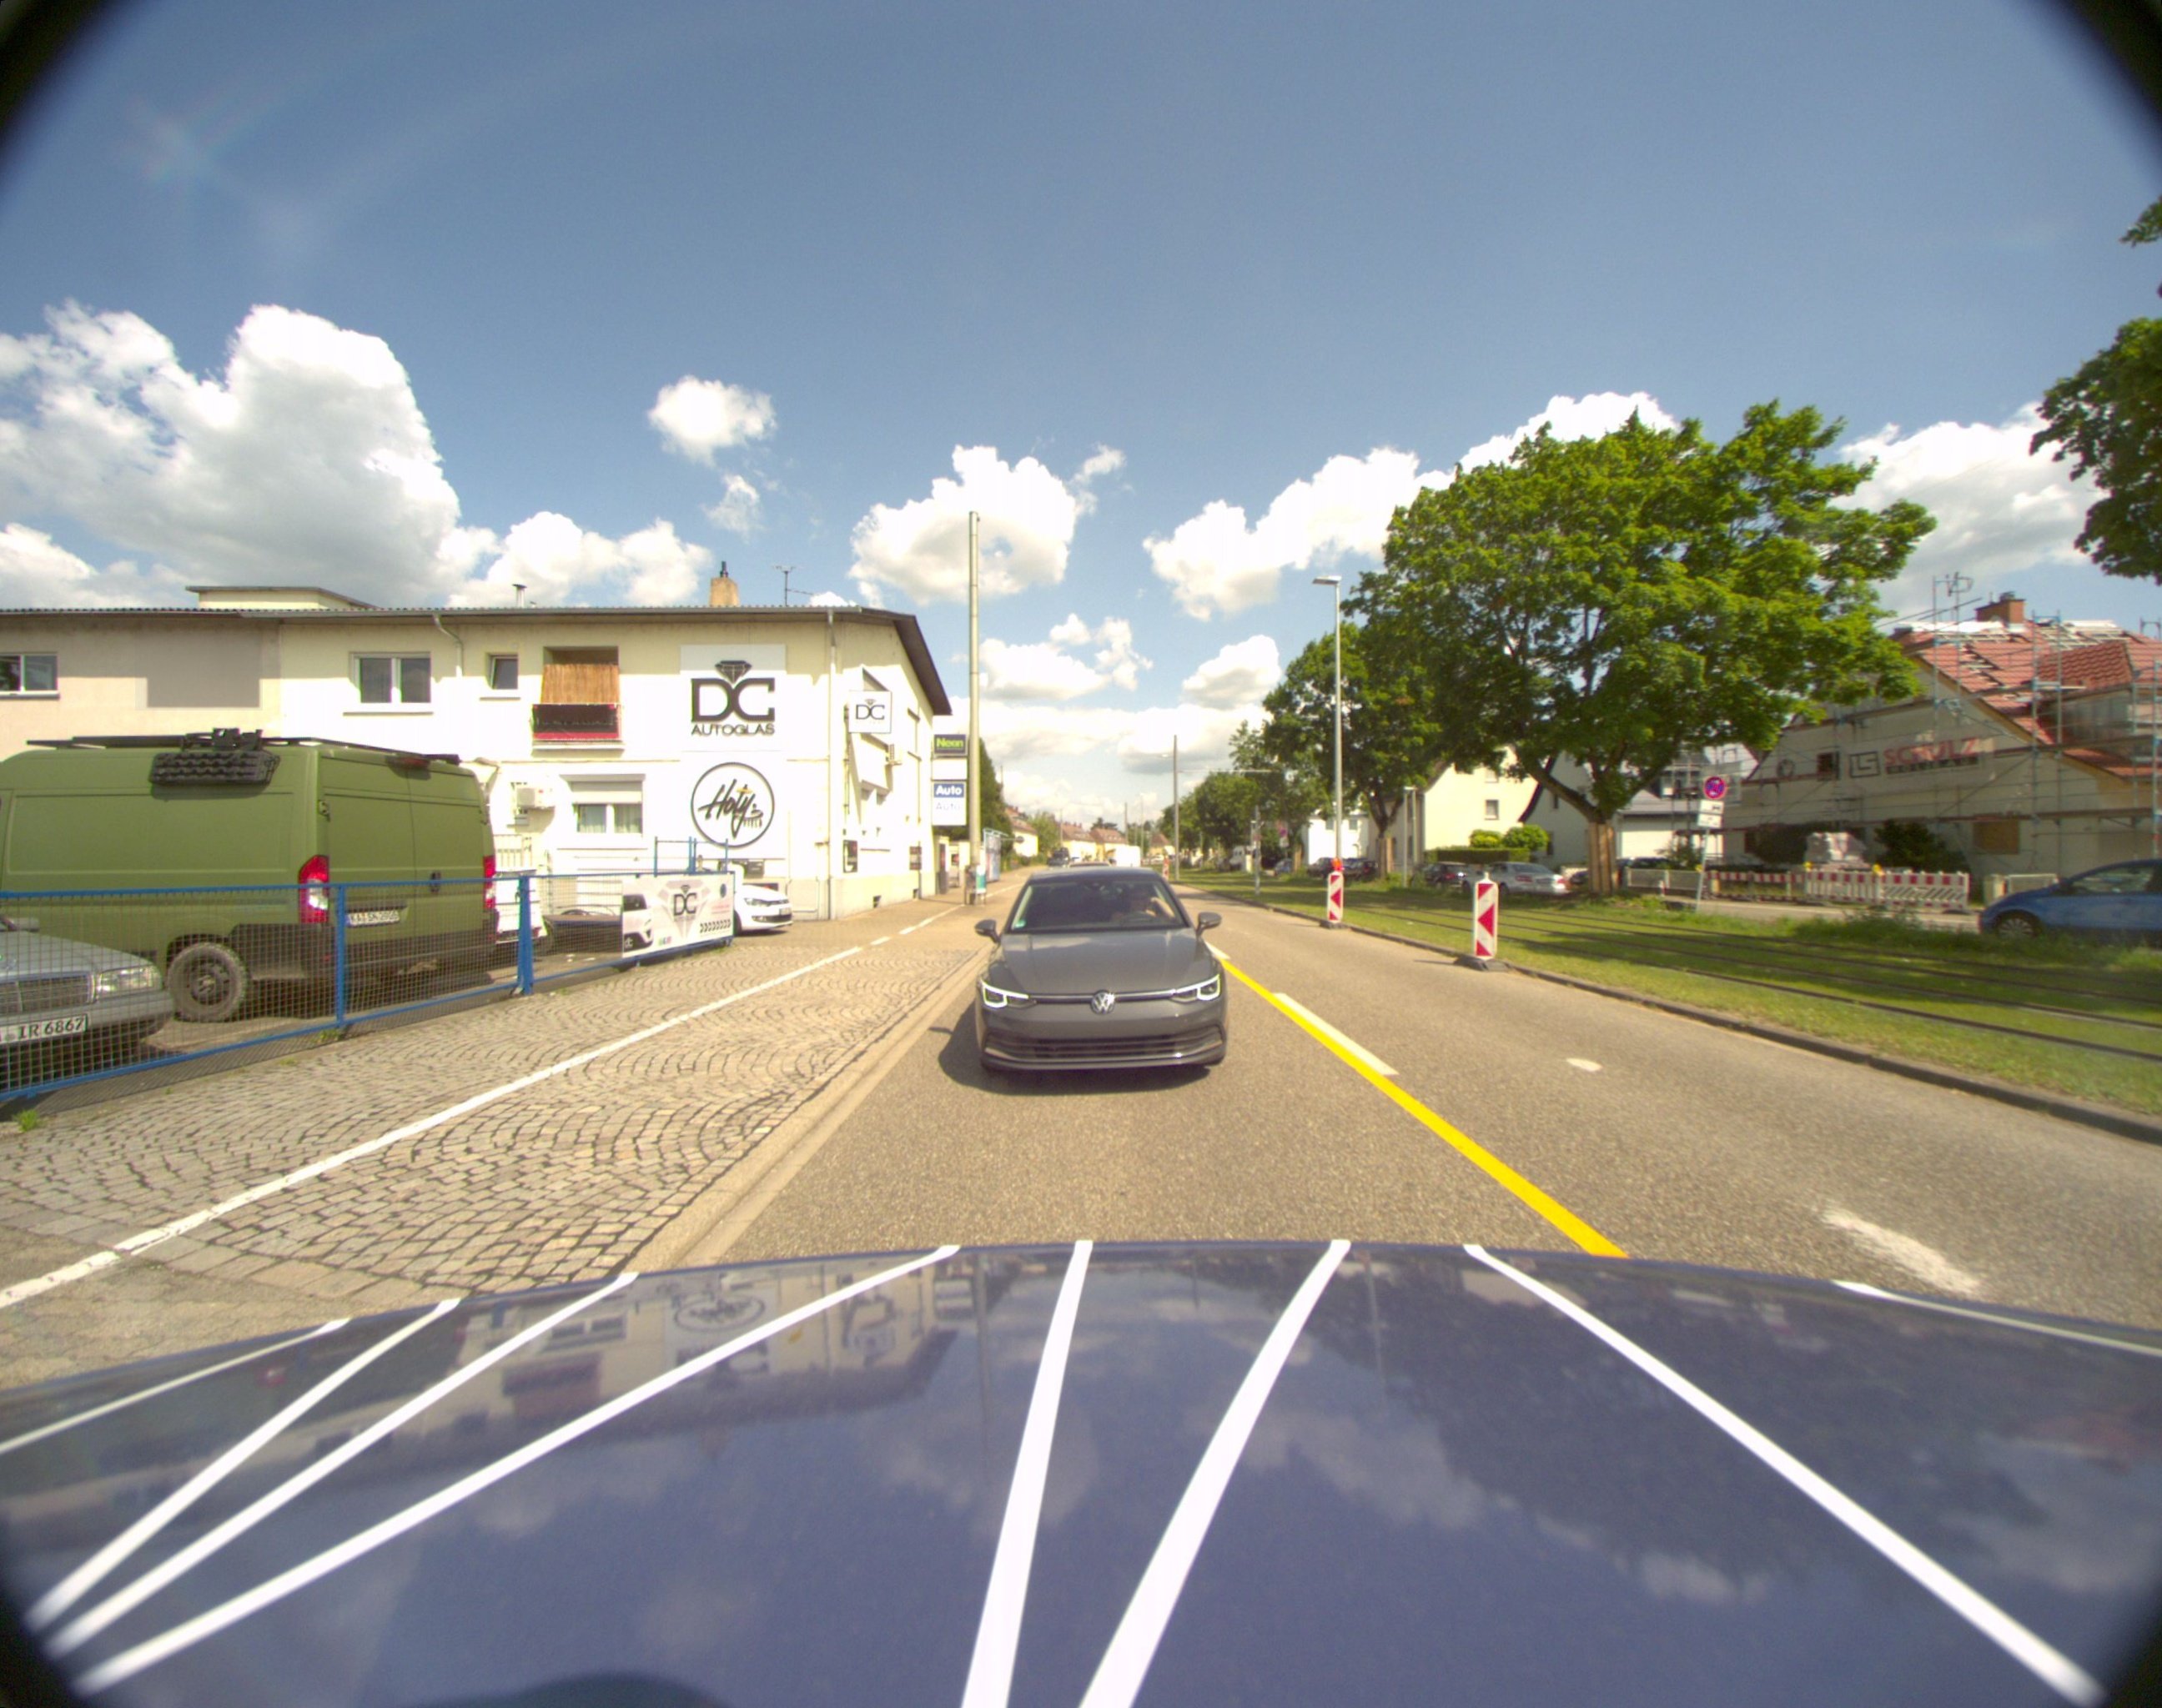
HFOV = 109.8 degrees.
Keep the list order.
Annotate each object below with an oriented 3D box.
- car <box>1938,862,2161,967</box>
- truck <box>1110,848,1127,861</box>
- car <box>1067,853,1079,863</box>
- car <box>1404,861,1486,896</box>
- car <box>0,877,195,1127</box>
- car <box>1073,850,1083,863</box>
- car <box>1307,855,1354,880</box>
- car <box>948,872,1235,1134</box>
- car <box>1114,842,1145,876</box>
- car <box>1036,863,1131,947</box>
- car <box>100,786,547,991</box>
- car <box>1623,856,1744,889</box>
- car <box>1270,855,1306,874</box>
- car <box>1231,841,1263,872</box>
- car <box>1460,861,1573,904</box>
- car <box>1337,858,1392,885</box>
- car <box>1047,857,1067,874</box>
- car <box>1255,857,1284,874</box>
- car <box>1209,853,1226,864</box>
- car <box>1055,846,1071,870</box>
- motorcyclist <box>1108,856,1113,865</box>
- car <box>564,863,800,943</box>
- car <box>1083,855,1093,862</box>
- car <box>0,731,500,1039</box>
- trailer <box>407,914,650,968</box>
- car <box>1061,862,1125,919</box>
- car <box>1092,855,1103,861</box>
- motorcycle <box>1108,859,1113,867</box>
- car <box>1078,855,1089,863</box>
[{"bbox_3d":[16.197,0.866,11.400,1.702,1.477,4.407,-1,-1,1],"label":"car"},{"bbox_3d":[9.898,0.137,201.051,2.710,3.119,8.124,0,0,15],"label":"truck"},{"bbox_3d":[-1.325,0.669,123.040,1.701,1.574,4.001,0,0,3],"label":"car"},{"bbox_3d":[16.618,1.119,34.938,1.702,1.477,4.407,-1,-1,1],"label":"car"},{"bbox_3d":[-8.464,0.890,4.774,4.282,1.444,1.713,0,0,8],"label":"car"},{"bbox_3d":[-0.499,0.417,136.403,1.701,2.233,4.947,0,0,2],"label":"car"},{"bbox_3d":[16.546,0.897,50.662,1.702,1.562,4.407,-1,-1,1],"label":"car"},{"bbox_3d":[0.090,0.936,6.526,1.702,1.477,4.000,0,0,1],"label":"car"},{"bbox_3d":[3.667,0.343,58.027,2.090,2.449,5.842,2,0,2],"label":"car"},{"bbox_3d":[0.072,0.941,15.761,1.702,1.477,4.000,0,0,1],"label":"car"},{"bbox_3d":[-9.506,0.412,9.744,4.207,2.392,1.586,0,0,2],"label":"car"},{"bbox_3d":[28.899,0.888,36.512,4.402,1.477,1.704,-1,-1,1],"label":"car"},{"bbox_3d":[16.636,0.873,61.282,1.702,1.477,4.407,-1,-1,1],"label":"car"},{"bbox_3d":[16.808,0.271,77.272,2.136,3.019,5.084,-1,-1,1],"label":"car"},{"bbox_3d":[16.413,1.065,28.937,1.788,1.477,4.523,-1,-1,2],"label":"car"},{"bbox_3d":[16.763,1.034,45.156,1.702,1.477,4.407,-1,-1,1],"label":"car"},{"bbox_3d":[-2.194,1.046,70.754,1.702,1.574,4.000,0,0,1],"label":"car"},{"bbox_3d":[17.637,1.075,71.328,1.702,1.477,4.407,-1,-1,1],"label":"car"},{"bbox_3d":[18.760,0.670,104.733,1.701,1.477,4.407,-1,-1,2],"label":"car"},{"bbox_3d":[-1.922,0.448,82.439,1.702,2.510,5.144,0,0,0],"label":"car"},{"bbox_3d":[4.072,0.923,105.507,0.659,1.284,0.780,0,0,0],"label":"motorcyclist"},{"bbox_3d":[-7.667,0.917,14.817,3.775,1.454,1.555,0,0,2],"label":"car"},{"bbox_3d":[1.431,0.902,155.838,1.701,1.574,4.002,0,0,7],"label":"car"},{"bbox_3d":[-8.732,0.272,7.609,4.207,2.627,2.113,0,0,2],"label":"car"},{"bbox_3d":[-8.373,1.308,11.659,2.733,0.662,1.329,0,0,-1],"label":"trailer"},{"bbox_3d":[0.346,0.991,22.232,1.702,1.477,4.000,0,0,1],"label":"car"},{"bbox_3d":[3.835,0.907,173.597,1.700,1.574,4.004,0,0,12],"label":"car"},{"bbox_3d":[4.072,1.246,105.553,0.659,1.040,2.111,0,0,1],"label":"motorcycle"},{"bbox_3d":[0.474,0.899,146.707,1.701,1.574,4.002,0,0,6],"label":"car"}]
